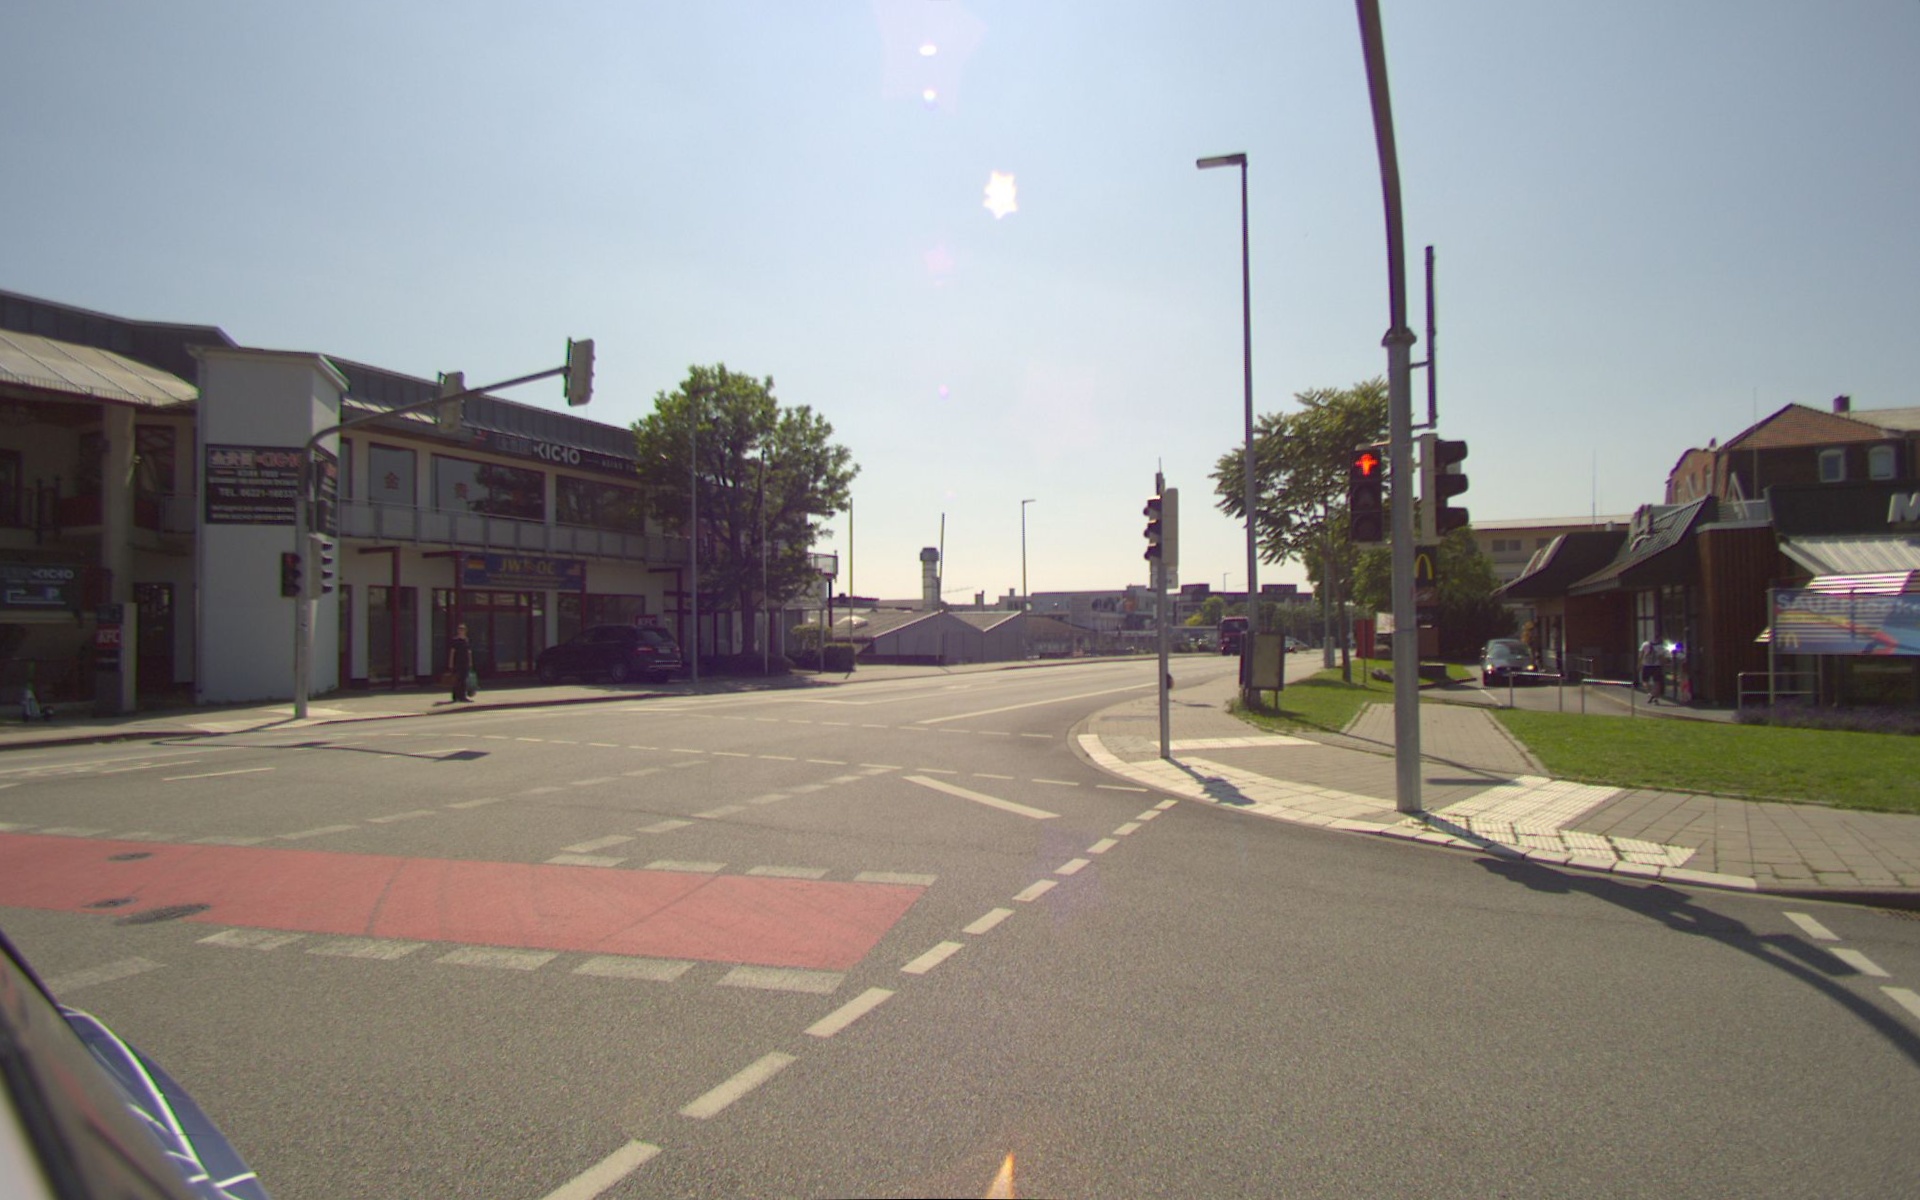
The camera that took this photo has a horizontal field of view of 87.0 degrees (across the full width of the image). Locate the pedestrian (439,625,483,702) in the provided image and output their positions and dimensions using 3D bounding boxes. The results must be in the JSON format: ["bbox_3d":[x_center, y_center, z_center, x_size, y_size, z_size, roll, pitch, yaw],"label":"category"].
[{"bbox_3d":[-11.063,1.390,22.432,0.722,1.658,0.844,1,-3,-36],"label":"pedestrian"}]

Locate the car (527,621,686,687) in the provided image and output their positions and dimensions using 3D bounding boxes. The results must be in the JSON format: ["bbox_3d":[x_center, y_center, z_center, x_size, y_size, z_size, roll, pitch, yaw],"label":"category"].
[{"bbox_3d":[-10.719,1.610,30.676,4.632,1.870,1.793,-1,-2,25],"label":"car"}]

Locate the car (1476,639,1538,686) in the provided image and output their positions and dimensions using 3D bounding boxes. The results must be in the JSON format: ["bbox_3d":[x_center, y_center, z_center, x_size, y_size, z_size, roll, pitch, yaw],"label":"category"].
[{"bbox_3d":[19.994,2.226,36.926,1.858,1.564,4.145,-2,-2,30],"label":"car"}]

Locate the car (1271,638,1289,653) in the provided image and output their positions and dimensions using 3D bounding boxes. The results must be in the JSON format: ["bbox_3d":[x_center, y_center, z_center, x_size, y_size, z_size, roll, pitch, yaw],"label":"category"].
[{"bbox_3d":[38.063,5.416,120.335,1.822,1.674,3.972,-1,-2,21],"label":"car"}]

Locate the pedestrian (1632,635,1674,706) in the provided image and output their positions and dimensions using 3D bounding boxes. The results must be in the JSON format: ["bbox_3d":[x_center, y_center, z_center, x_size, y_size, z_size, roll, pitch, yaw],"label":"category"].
[{"bbox_3d":[17.868,1.800,26.114,0.633,1.771,0.886,-1,-2,21],"label":"pedestrian"}]

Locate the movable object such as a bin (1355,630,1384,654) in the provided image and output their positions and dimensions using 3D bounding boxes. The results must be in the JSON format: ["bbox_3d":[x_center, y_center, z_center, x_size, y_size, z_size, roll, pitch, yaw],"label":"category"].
[{"bbox_3d":[24.105,2.466,59.537,1.461,1.422,1.443,-1,-2,25],"label":"movable object such as a bin"}]

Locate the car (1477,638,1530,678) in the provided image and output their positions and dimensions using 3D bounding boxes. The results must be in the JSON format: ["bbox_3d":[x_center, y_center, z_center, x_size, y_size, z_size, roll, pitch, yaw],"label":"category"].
[{"bbox_3d":[22.966,2.421,42.743,1.857,1.564,4.147,-2,-2,29],"label":"car"}]

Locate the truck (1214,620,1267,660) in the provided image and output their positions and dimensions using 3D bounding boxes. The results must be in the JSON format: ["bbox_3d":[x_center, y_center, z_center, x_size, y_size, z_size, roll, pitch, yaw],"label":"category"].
[{"bbox_3d":[25.386,3.573,91.351,3.294,3.412,9.094,-2,-2,24],"label":"truck"}]

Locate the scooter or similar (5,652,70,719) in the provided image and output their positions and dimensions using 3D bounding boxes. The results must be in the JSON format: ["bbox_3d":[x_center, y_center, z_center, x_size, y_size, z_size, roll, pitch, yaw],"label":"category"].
[{"bbox_3d":[-16.423,1.506,18.002,1.500,1.132,0.495,-2,-3,34],"label":"scooter or similar"}]

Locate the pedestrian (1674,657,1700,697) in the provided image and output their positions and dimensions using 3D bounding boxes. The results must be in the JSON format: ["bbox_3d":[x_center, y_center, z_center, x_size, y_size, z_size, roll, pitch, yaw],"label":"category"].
[{"bbox_3d":[18.413,1.947,25.630,0.379,1.005,0.507,-1,-2,21],"label":"pedestrian"}]
